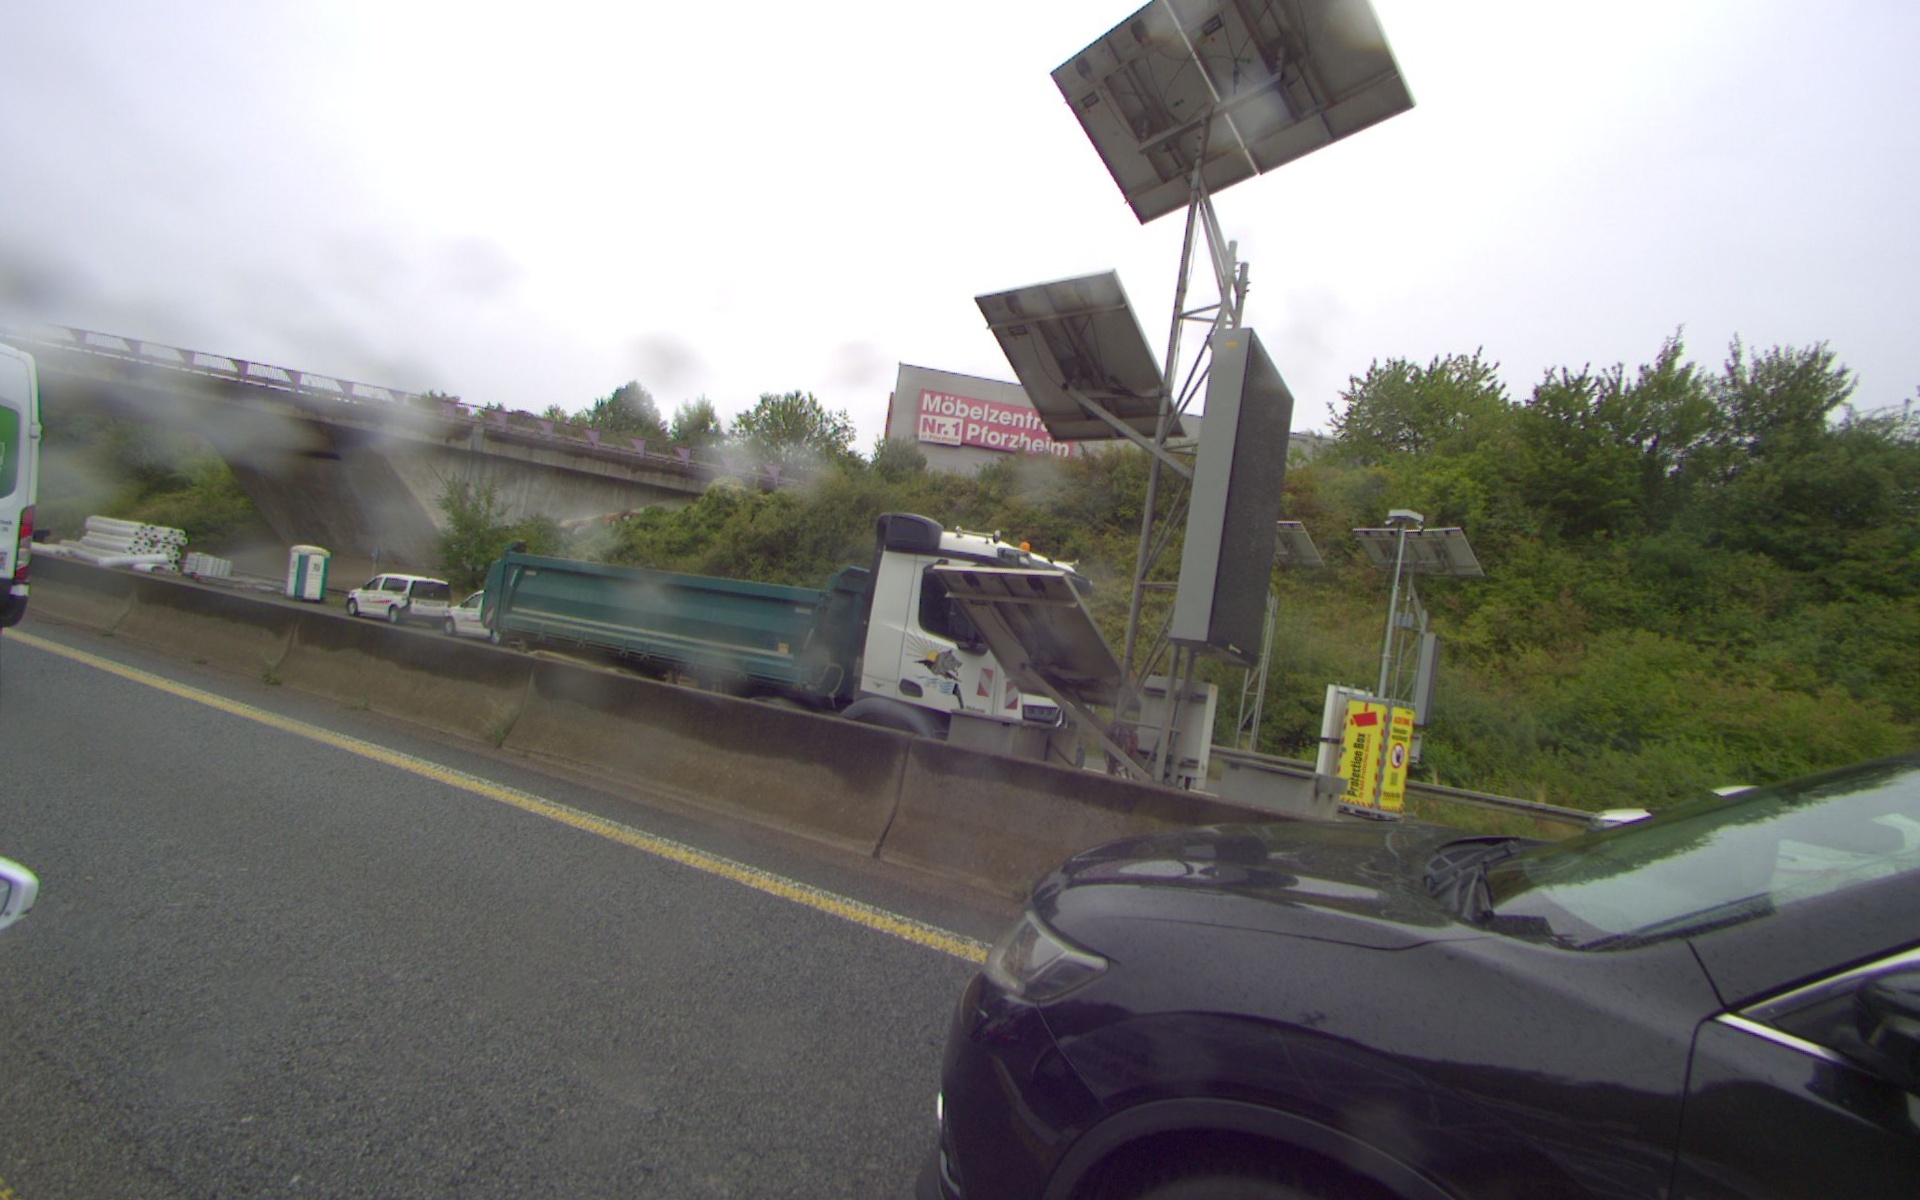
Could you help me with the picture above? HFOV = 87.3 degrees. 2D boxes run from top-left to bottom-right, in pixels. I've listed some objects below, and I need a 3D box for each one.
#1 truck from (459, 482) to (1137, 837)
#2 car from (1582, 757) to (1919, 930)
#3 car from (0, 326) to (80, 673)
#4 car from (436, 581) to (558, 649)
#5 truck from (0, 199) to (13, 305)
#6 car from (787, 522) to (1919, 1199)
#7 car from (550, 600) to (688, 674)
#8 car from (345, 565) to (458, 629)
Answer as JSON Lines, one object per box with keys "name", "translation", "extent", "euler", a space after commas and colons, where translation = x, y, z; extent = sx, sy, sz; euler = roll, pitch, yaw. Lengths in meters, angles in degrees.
{"name": "truck", "translation": [-2.541, 0.412, 13.102], "extent": [8.968, 3.168, 2.525], "euler": [6, -2, 32]}
{"name": "car", "translation": [12.929, 3.893, 16.722], "extent": [4.196, 1.778, 1.732], "euler": [6, -2, 30]}
{"name": "car", "translation": [-10.479, -1.124, 8.954], "extent": [6.017, 2.707, 2.148], "euler": [6, -2, 32]}
{"name": "car", "translation": [-15.729, 0.488, 34.110], "extent": [4.058, 1.765, 1.731], "euler": [6, -2, 34]}
{"name": "truck", "translation": [-24.133, -4.262, 18.761], "extent": [20.039, 5.739, 3.987], "euler": [6, -1, 32]}
{"name": "car", "translation": [2.137, 0.994, 1.636], "extent": [4.563, 1.694, 1.894], "euler": [6, -2, 30]}
{"name": "car", "translation": [-10.575, 1.122, 31.134], "extent": [4.057, 1.745, 1.732], "euler": [6, -2, 33]}
{"name": "car", "translation": [-20.736, -0.116, 37.320], "extent": [4.090, 1.829, 1.850], "euler": [6, -2, 34]}
